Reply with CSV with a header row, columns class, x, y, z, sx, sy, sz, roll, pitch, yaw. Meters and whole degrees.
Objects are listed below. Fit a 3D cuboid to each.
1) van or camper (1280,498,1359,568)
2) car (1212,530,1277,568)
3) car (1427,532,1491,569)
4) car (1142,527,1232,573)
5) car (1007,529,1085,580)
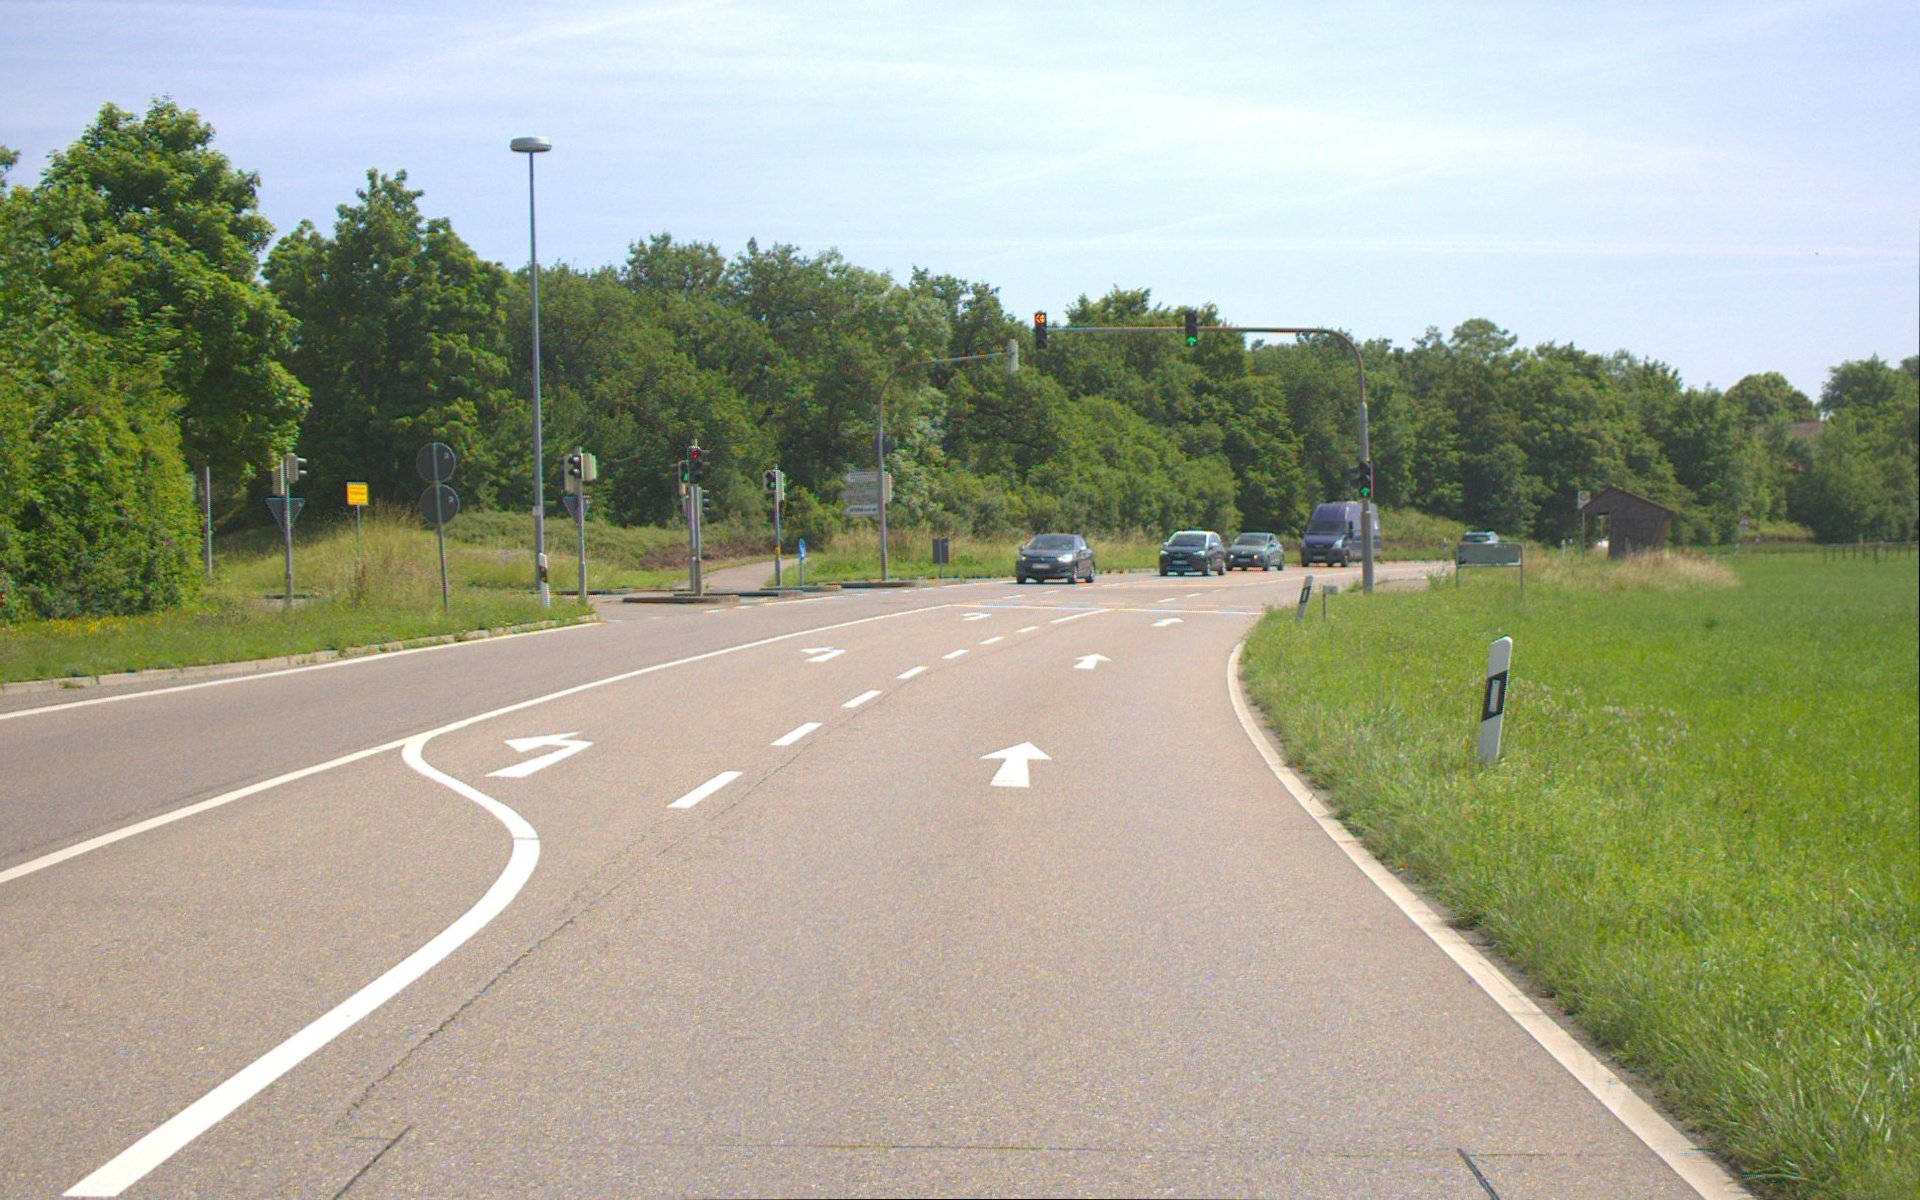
class,x,y,z,sx,sy,sz,roll,pitch,yaw
van or camper,15.793,-2.966,150.751,2.241,2.904,7.242,1,2,16
car,11.214,-2.011,135.265,1.708,1.478,3.829,1,1,18
car,21.563,-2.122,148.435,1.995,1.568,3.996,1,1,19
car,8.014,-1.754,121.105,1.976,1.557,4.184,1,1,22
car,2.584,-1.362,102.164,1.792,1.469,4.309,1,1,8
